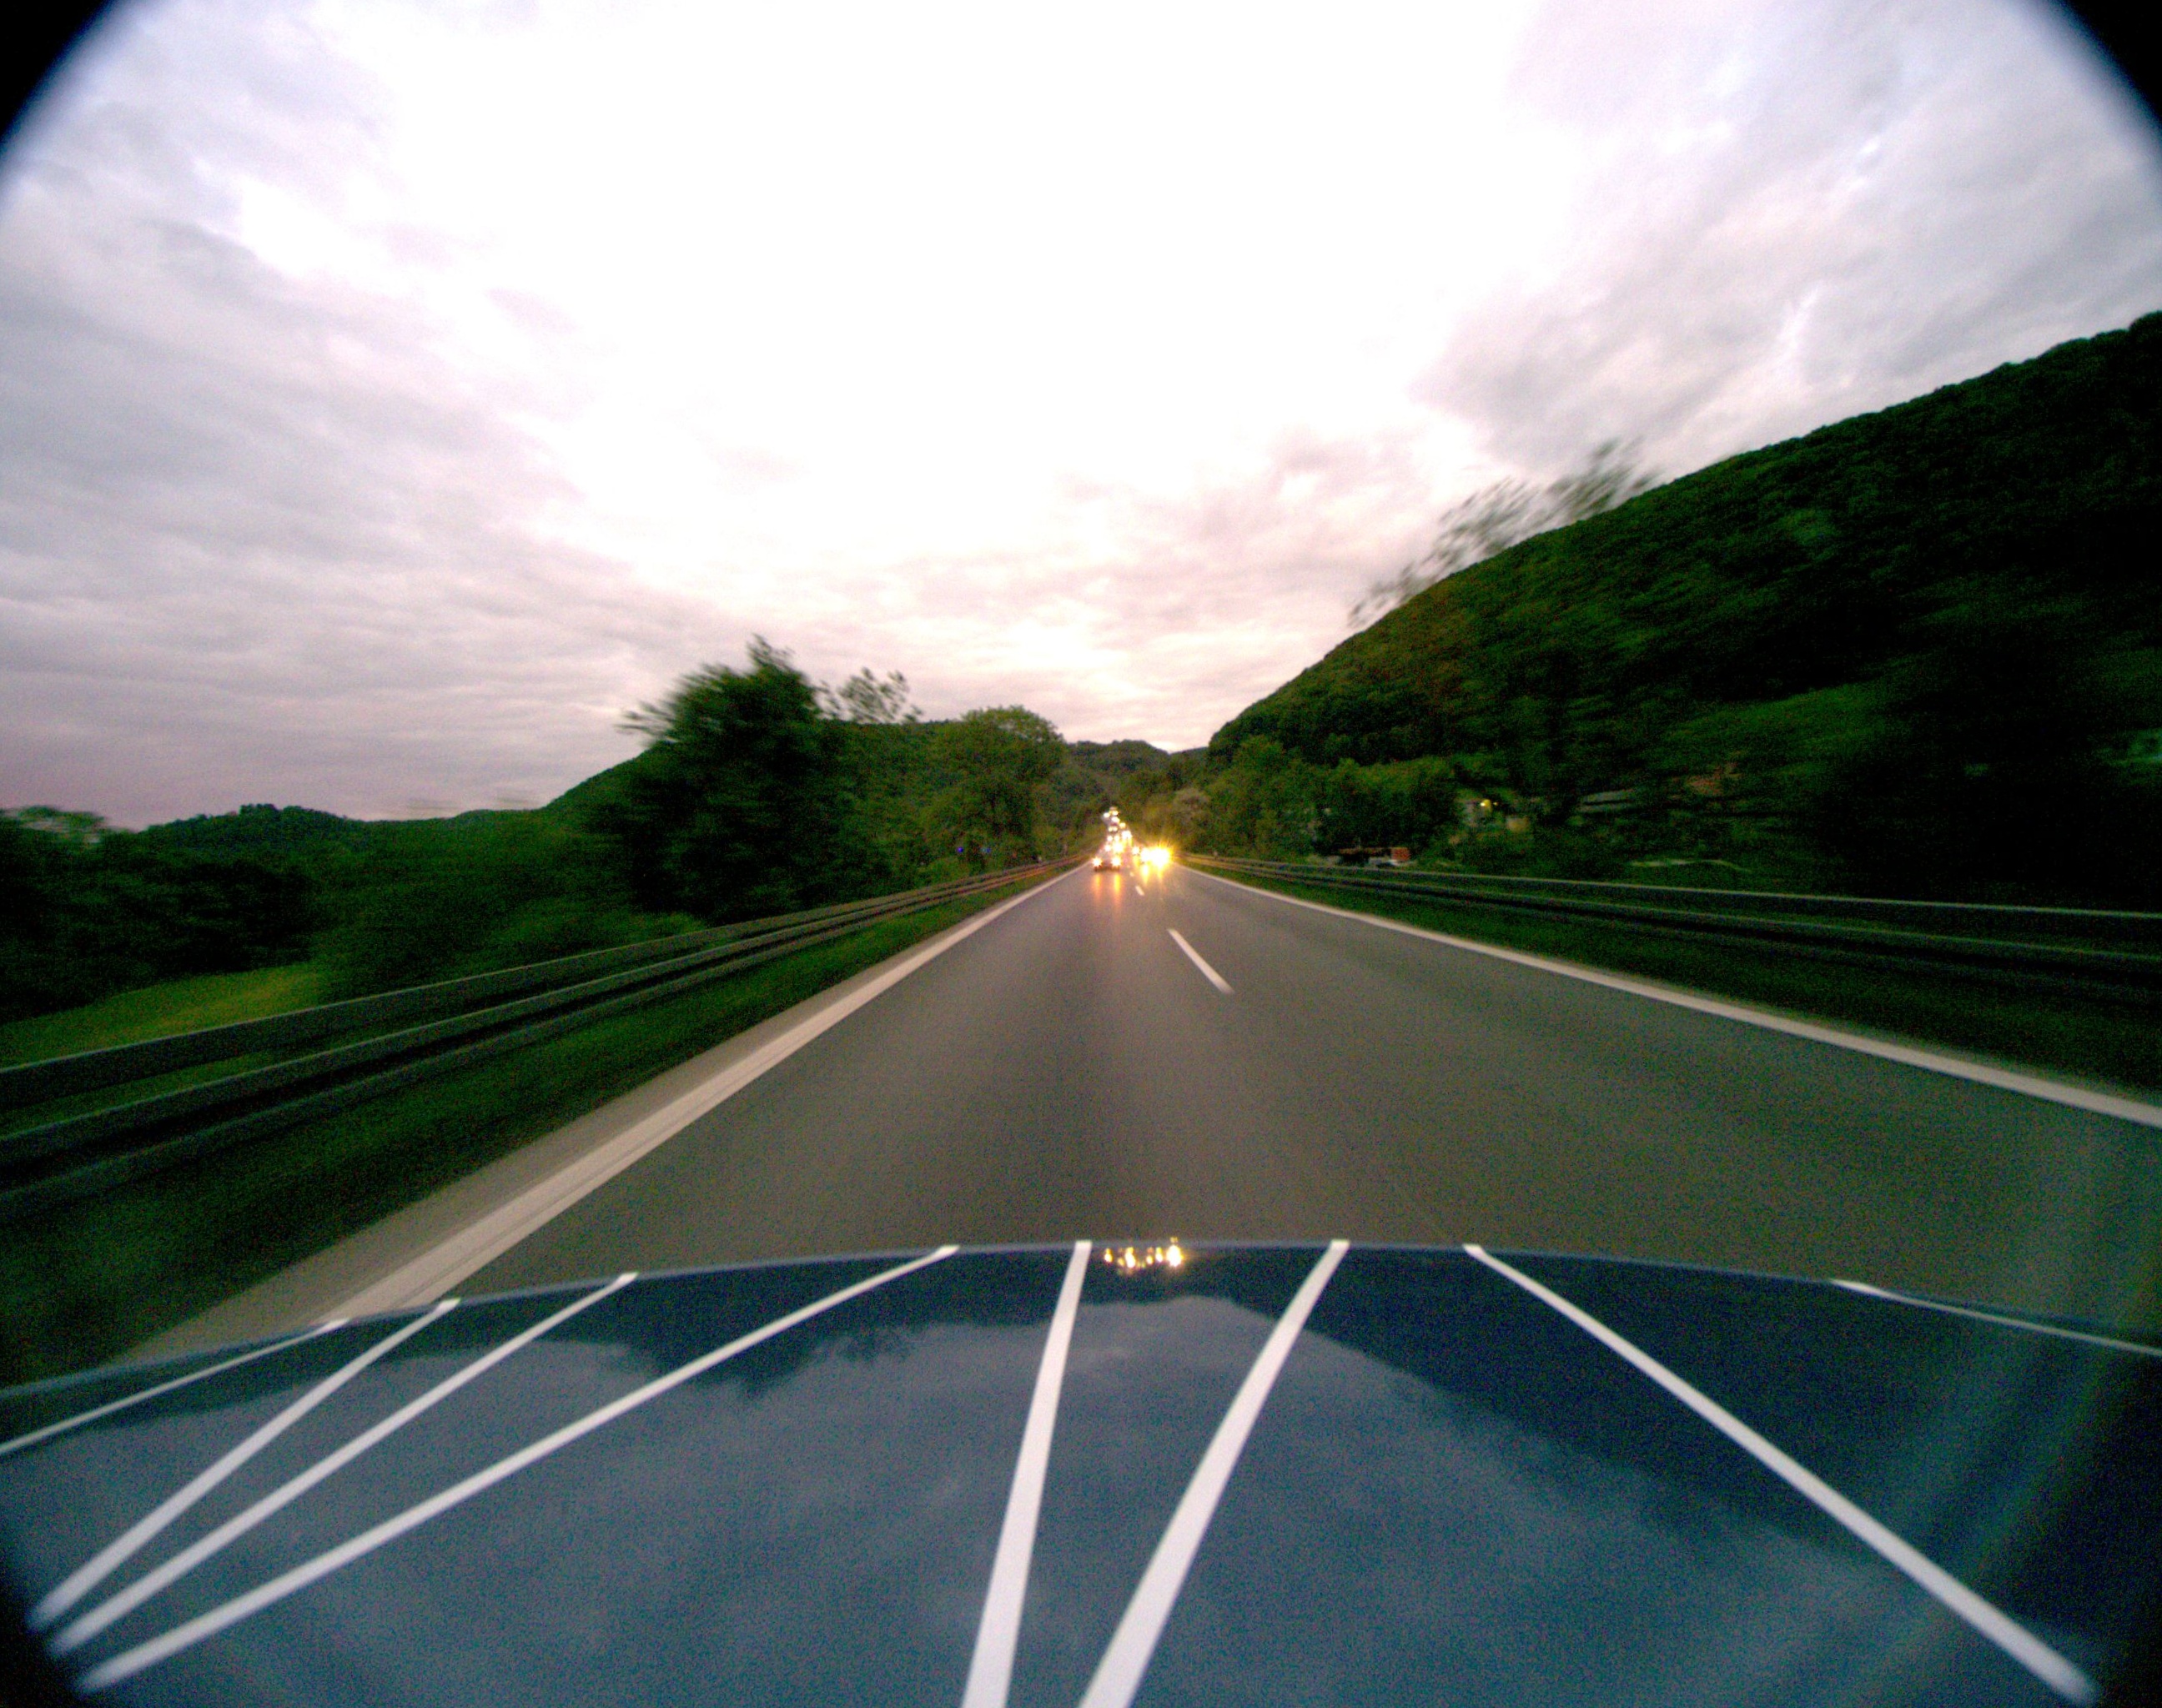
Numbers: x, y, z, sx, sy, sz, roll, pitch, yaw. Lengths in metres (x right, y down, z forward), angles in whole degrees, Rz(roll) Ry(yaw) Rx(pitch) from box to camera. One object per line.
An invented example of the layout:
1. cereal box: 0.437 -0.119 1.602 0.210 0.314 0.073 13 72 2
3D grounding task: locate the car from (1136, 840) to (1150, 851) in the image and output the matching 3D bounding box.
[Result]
1. car: 8.390 -1.145 102.696 1.690 1.425 3.670 -3 -1 3

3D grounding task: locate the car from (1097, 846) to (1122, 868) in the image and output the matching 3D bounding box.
1. car: 2.059 0.210 54.491 1.690 1.443 3.670 -3 -1 3

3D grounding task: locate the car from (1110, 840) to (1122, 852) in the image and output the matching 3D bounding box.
1. car: 5.258 -1.227 115.001 1.737 1.641 3.669 -3 -1 1

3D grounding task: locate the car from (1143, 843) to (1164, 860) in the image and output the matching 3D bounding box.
1. car: 6.639 -0.206 69.769 1.690 1.459 3.769 -3 -1 3
